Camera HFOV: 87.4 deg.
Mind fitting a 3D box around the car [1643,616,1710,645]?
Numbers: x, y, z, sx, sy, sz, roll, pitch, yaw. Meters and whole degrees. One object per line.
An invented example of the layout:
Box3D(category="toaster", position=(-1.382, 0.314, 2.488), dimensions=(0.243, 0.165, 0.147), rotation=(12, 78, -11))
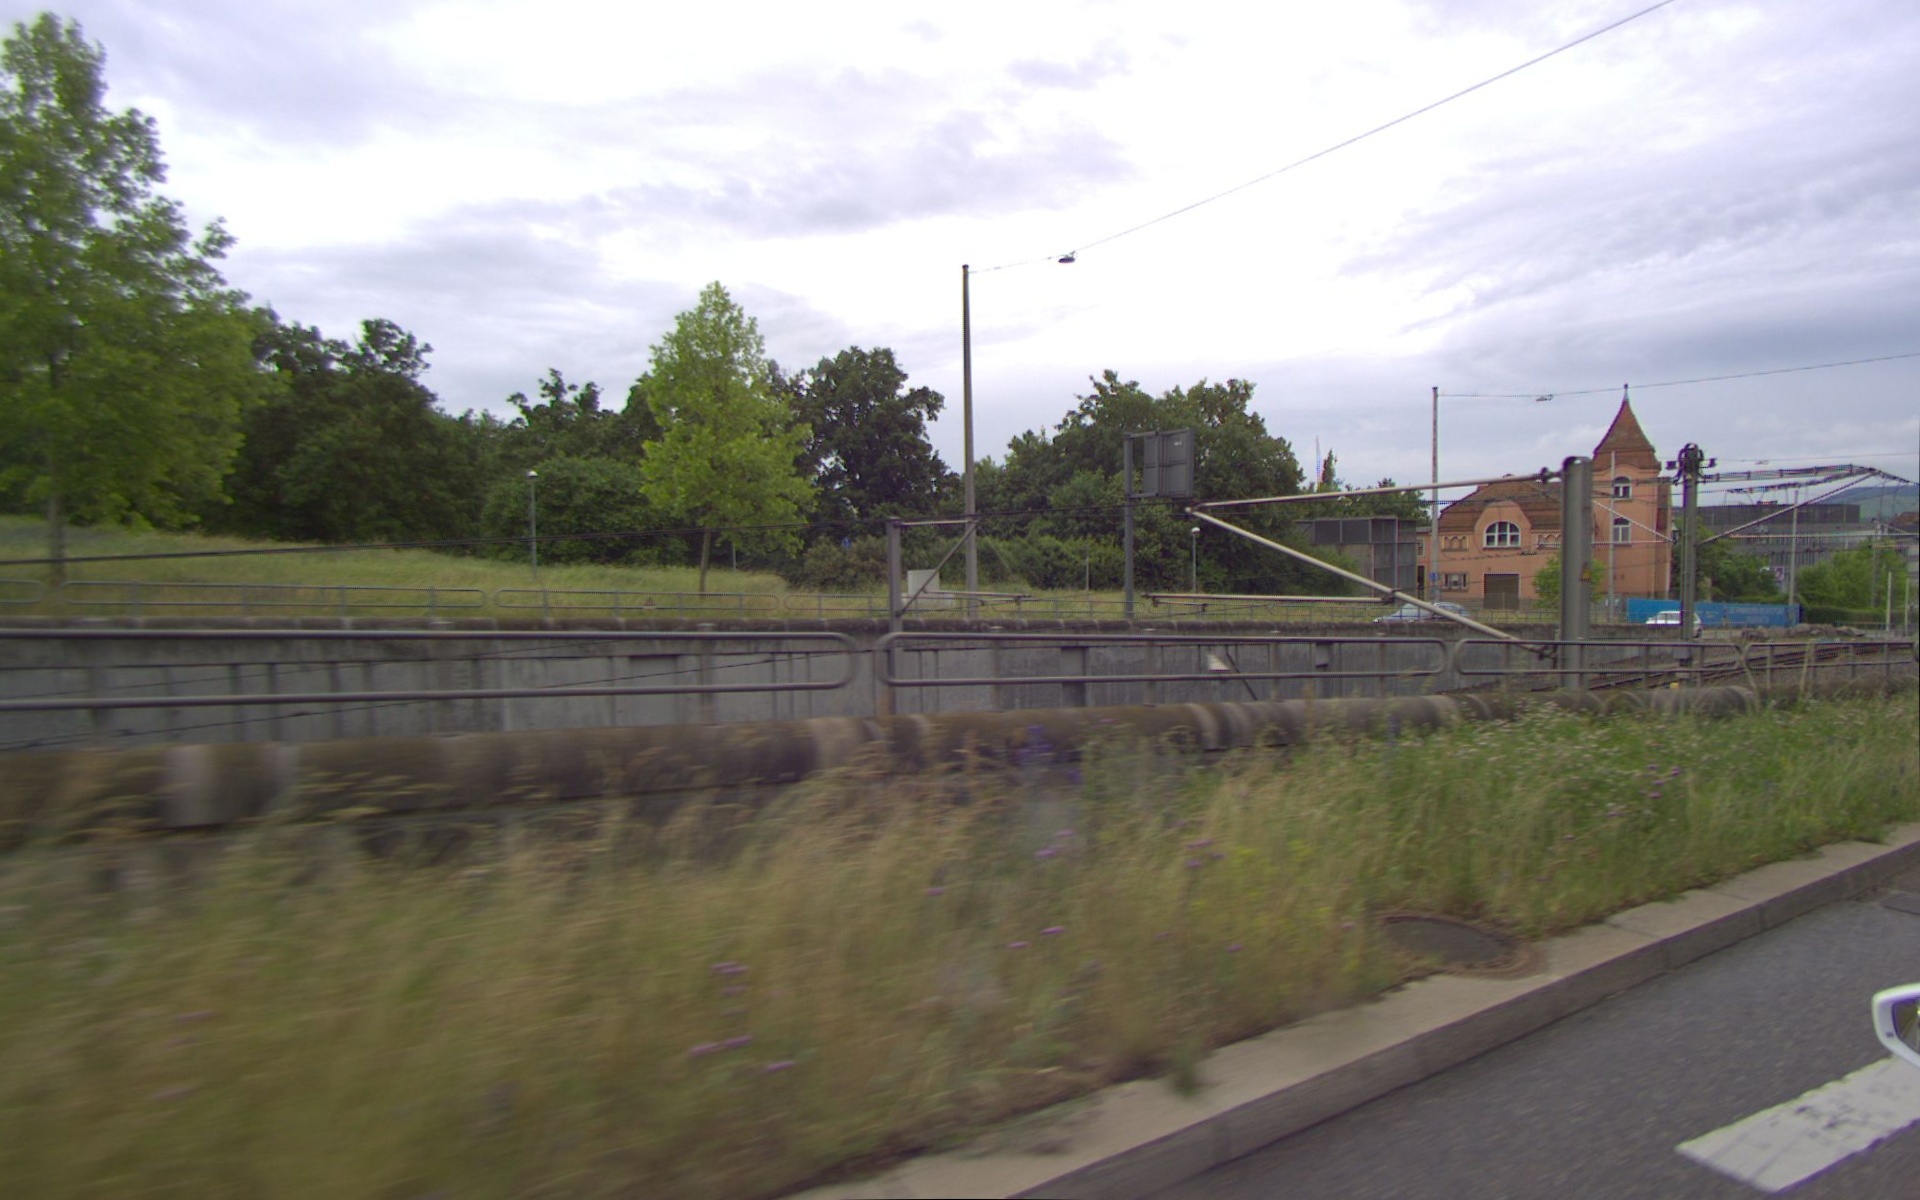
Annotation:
Box3D(category="car", position=(36.593, 1.540, 51.290), dimensions=(3.519, 1.309, 1.546), rotation=(0, 2, -32))

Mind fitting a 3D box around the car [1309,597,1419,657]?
Box3D(category="car", position=(15.070, 0.987, 37.392), dimensions=(3.996, 1.997, 1.877), rotation=(1, 4, -36))
